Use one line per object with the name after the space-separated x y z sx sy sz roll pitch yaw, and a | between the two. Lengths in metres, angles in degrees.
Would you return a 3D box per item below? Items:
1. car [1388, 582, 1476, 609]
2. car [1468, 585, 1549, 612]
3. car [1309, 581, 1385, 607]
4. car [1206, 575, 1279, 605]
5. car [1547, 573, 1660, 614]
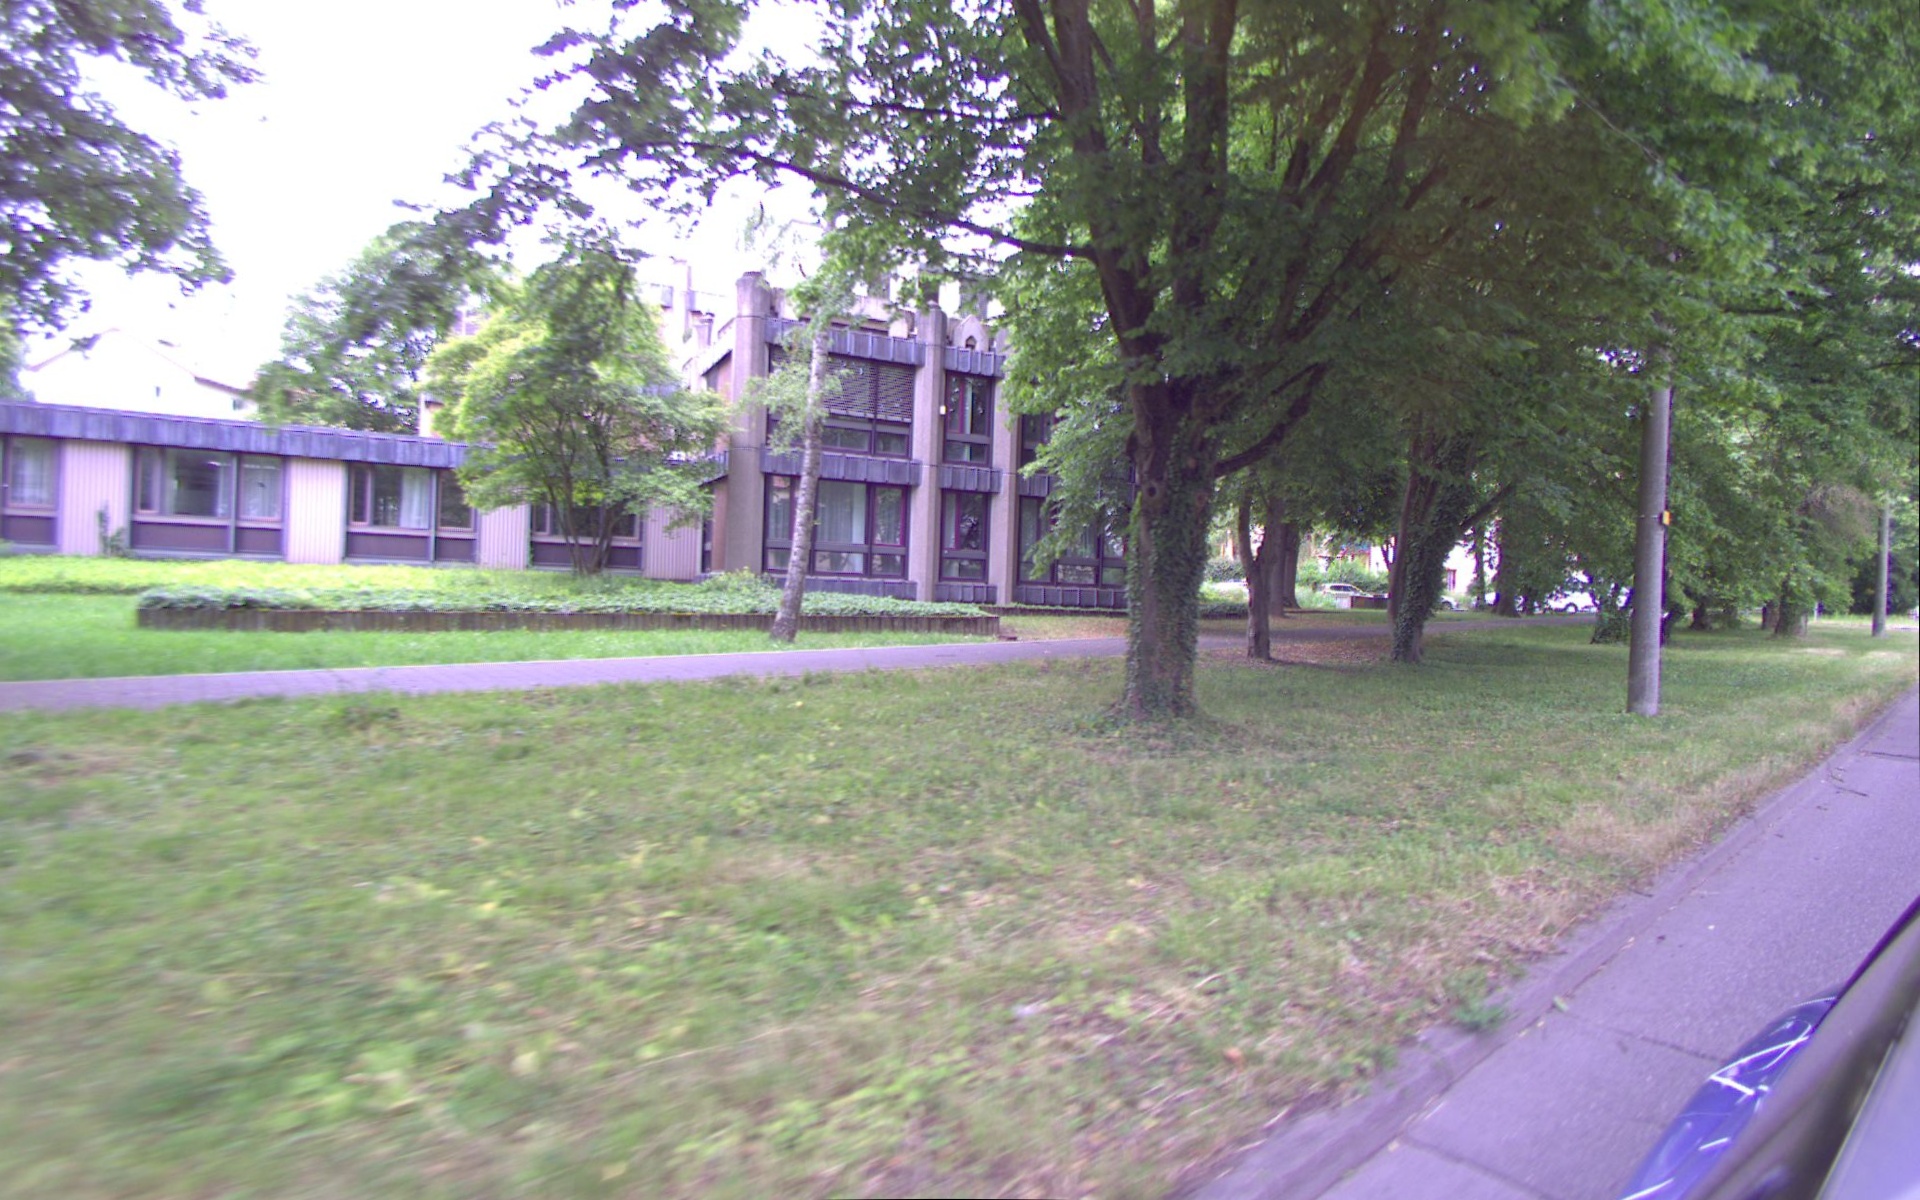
29.018 -0.271 62.262 4.517 1.529 1.800 1 0 1 | car
33.638 -0.116 62.184 3.931 1.529 1.797 1 0 7 | car
23.886 -0.385 62.577 3.923 1.529 1.801 1 0 -1 | car
17.303 -0.610 62.042 3.923 1.695 1.800 1 0 -1 | car
38.955 -0.431 61.450 5.246 2.328 2.283 1 0 13 | car
